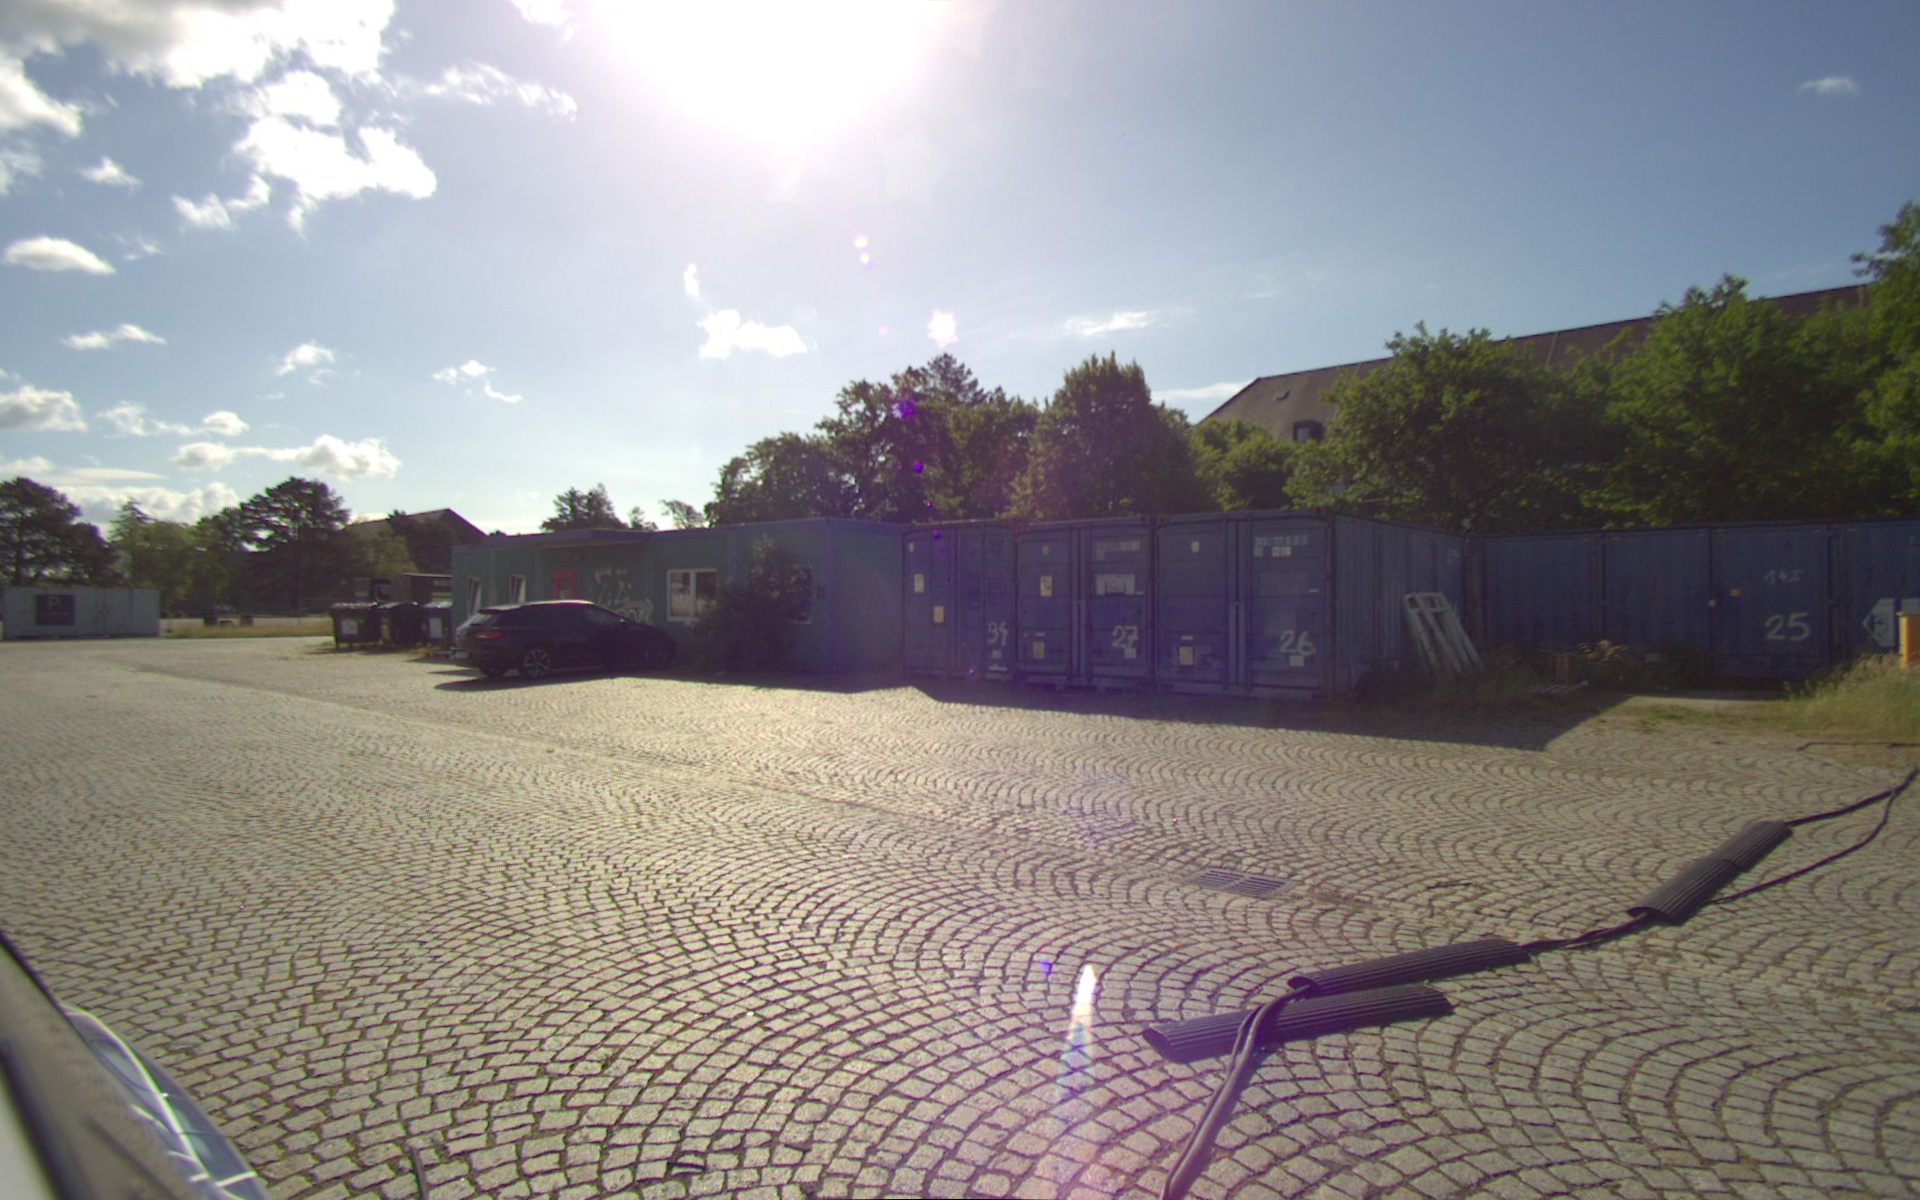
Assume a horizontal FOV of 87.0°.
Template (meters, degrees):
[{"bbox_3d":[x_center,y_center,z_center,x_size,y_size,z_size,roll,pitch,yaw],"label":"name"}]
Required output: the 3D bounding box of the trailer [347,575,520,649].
[{"bbox_3d":[-18.087,0.385,34.962,2.092,2.372,4.913,-1,0,37],"label":"trailer"}]

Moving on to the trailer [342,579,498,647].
[{"bbox_3d":[-19.654,0.446,36.950,2.137,2.315,4.605,-1,0,42],"label":"trailer"}]

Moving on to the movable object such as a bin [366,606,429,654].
[{"bbox_3d":[-17.245,0.893,31.024,1.536,1.433,1.282,-1,0,42],"label":"movable object such as a bin"}]

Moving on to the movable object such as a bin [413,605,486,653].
[{"bbox_3d":[-15.437,0.870,30.603,1.529,1.397,1.372,-1,0,29],"label":"movable object such as a bin"}]

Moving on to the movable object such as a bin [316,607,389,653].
[{"bbox_3d":[-19.206,0.934,32.027,1.513,1.397,1.387,0,0,-3],"label":"movable object such as a bin"}]

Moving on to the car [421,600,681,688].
[{"bbox_3d":[-7.948,0.780,20.036,1.997,1.475,4.373,-1,0,38],"label":"car"}]
